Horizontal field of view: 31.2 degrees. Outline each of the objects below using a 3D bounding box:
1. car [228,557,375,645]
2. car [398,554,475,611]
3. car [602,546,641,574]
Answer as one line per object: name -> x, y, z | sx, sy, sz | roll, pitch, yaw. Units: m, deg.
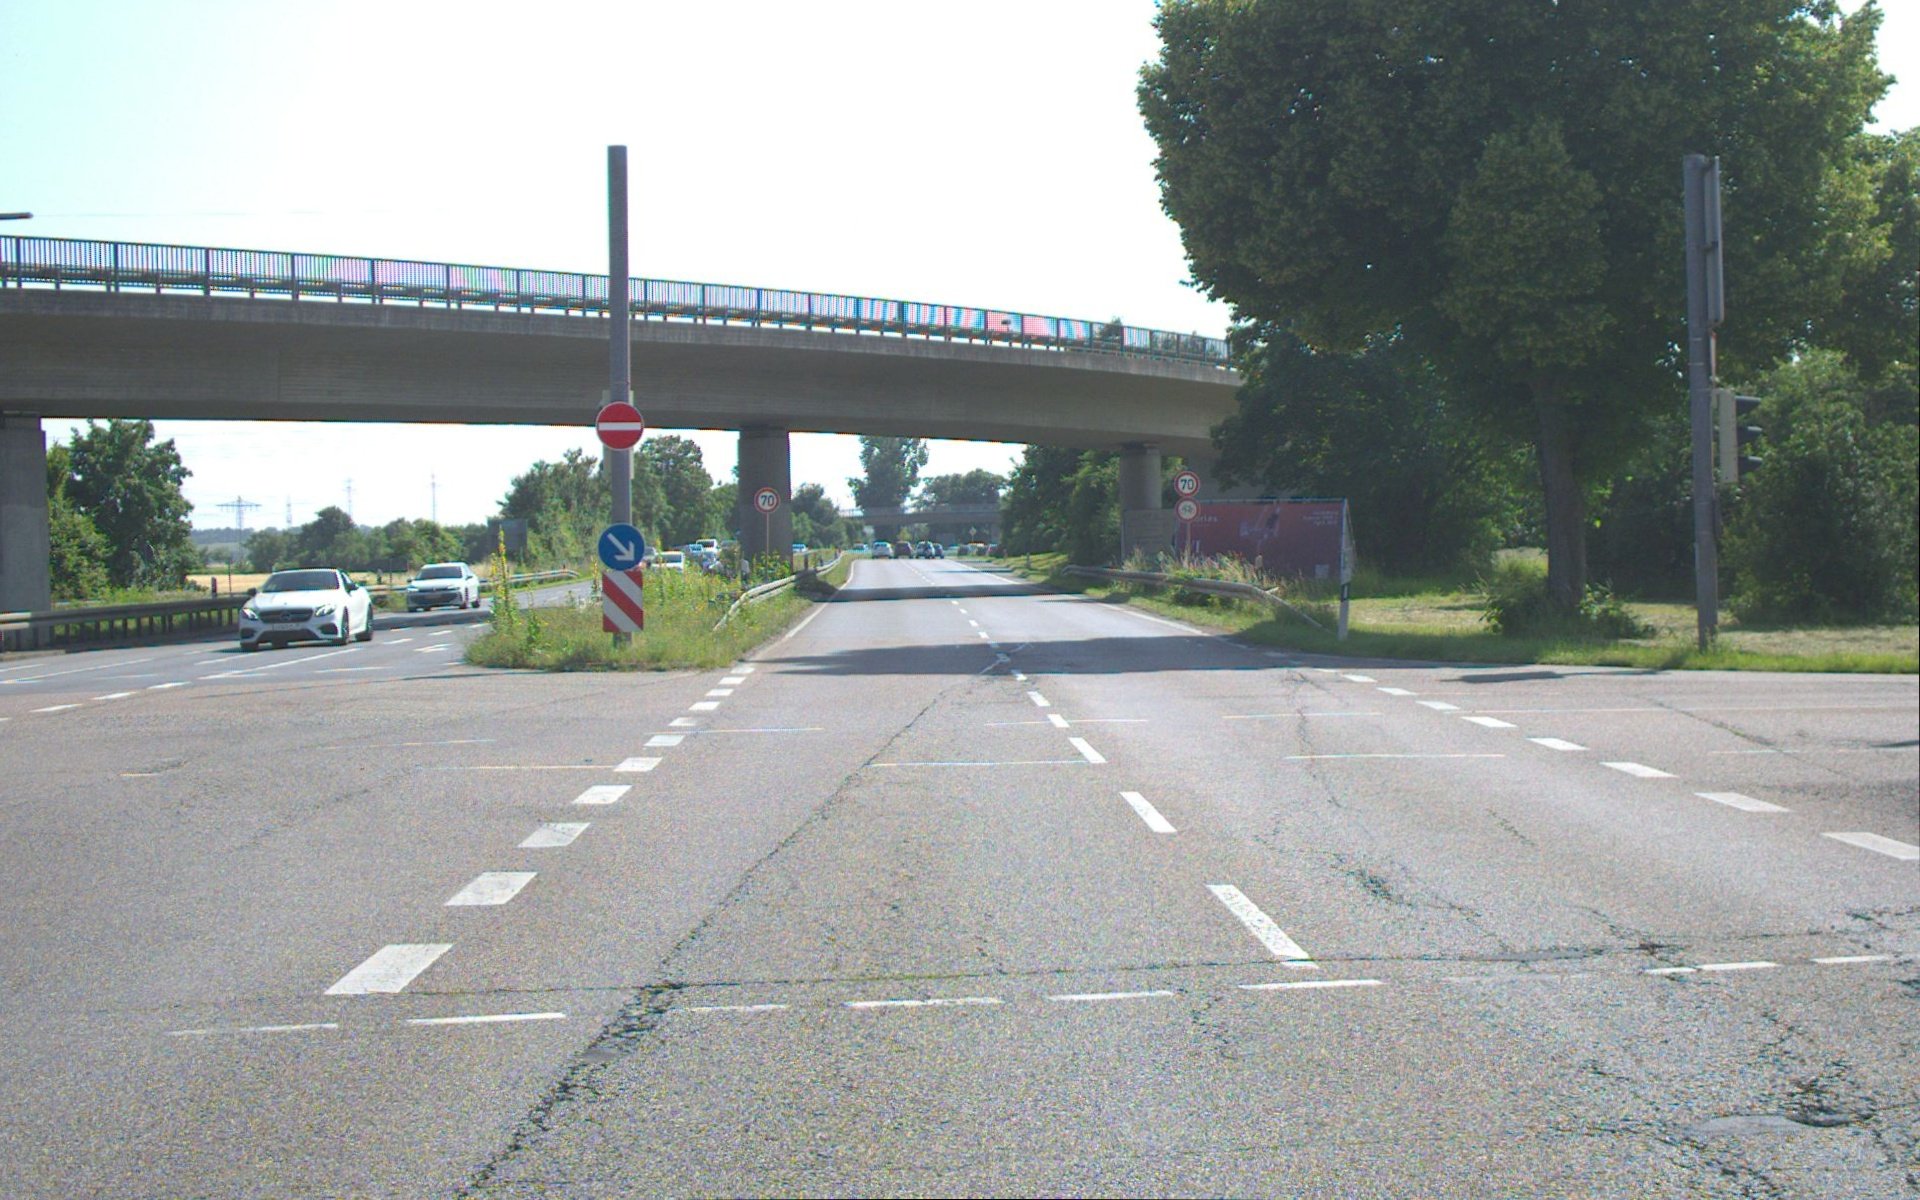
car -> -11.940, -0.010, 62.569 | 1.856, 1.443, 4.241 | -3, 1, -1
car -> -15.849, -0.541, 104.176 | 1.790, 1.622, 4.000 | -2, 1, -2
car -> -19.370, -2.287, 196.594 | 1.993, 1.553, 4.001 | -2, 1, -3
